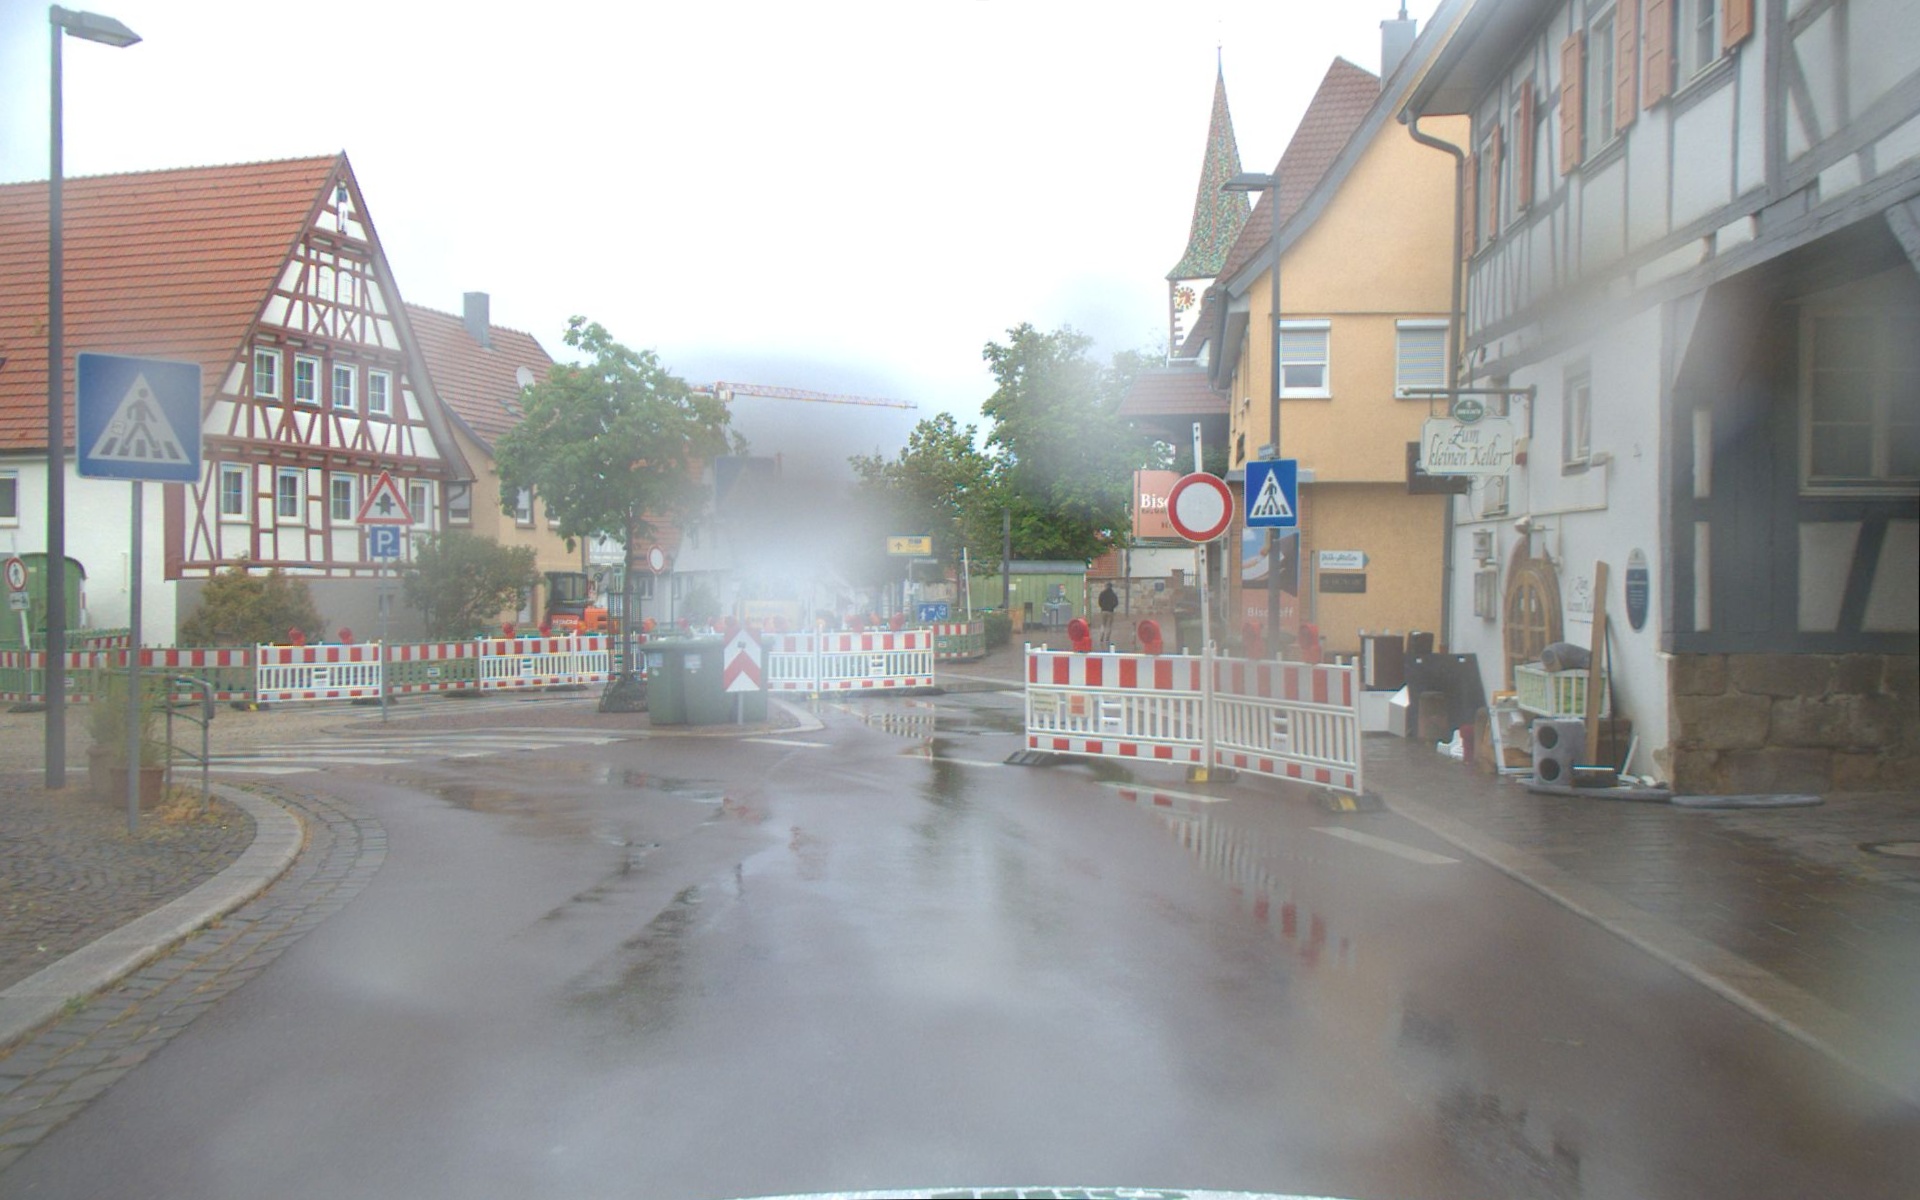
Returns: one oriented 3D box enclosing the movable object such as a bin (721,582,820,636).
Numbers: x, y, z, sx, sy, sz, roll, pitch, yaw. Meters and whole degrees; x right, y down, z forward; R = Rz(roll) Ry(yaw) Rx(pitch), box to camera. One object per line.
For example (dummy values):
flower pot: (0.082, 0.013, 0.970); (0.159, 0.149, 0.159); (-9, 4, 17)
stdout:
movable object such as a bin: (-7.505, 0.382, 65.953); (3.331, 2.049, 3.480); (1, -1, 3)

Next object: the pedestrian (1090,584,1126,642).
pedestrian: (4.658, 0.422, 52.140); (0.970, 1.789, 0.851); (1, -1, -4)

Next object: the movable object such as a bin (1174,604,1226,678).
movable object such as a bin: (5.317, 0.899, 36.569); (1.042, 1.539, 1.243); (-3, 0, 9)

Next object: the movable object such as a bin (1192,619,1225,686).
movable object such as a bin: (4.476, 0.947, 29.843); (0.506, 1.151, 0.580); (-3, 0, 5)

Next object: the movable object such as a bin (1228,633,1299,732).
movable object such as a bin: (3.462, 0.935, 18.895); (0.665, 1.084, 0.539); (-1, 1, -5)

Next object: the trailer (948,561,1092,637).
trailer: (2.417, -0.027, 67.323); (5.666, 2.999, 1.999); (1, -1, -3)

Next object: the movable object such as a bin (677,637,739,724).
movable object such as a bin: (-3.107, 0.987, 20.417); (0.534, 1.051, 0.532); (-3, -3, 35)

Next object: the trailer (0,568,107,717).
trailer: (-20.303, 0.826, 33.941); (4.520, 2.886, 2.493); (1, -1, 18)

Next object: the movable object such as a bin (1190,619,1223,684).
movable object such as a bin: (4.537, 0.938, 30.450); (0.505, 1.148, 0.580); (-3, 1, 5)

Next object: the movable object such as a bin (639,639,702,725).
movable object such as a bin: (-3.633, 1.024, 20.771); (0.531, 1.055, 0.570); (-3, -3, 35)

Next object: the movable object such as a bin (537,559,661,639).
movable object such as a bin: (-9.849, 0.000, 45.435); (1.864, 2.049, 4.003); (-2, -1, 10)

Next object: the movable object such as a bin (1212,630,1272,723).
movable object such as a bin: (3.359, 0.905, 19.675); (0.603, 1.084, 0.540); (-2, -2, 18)
